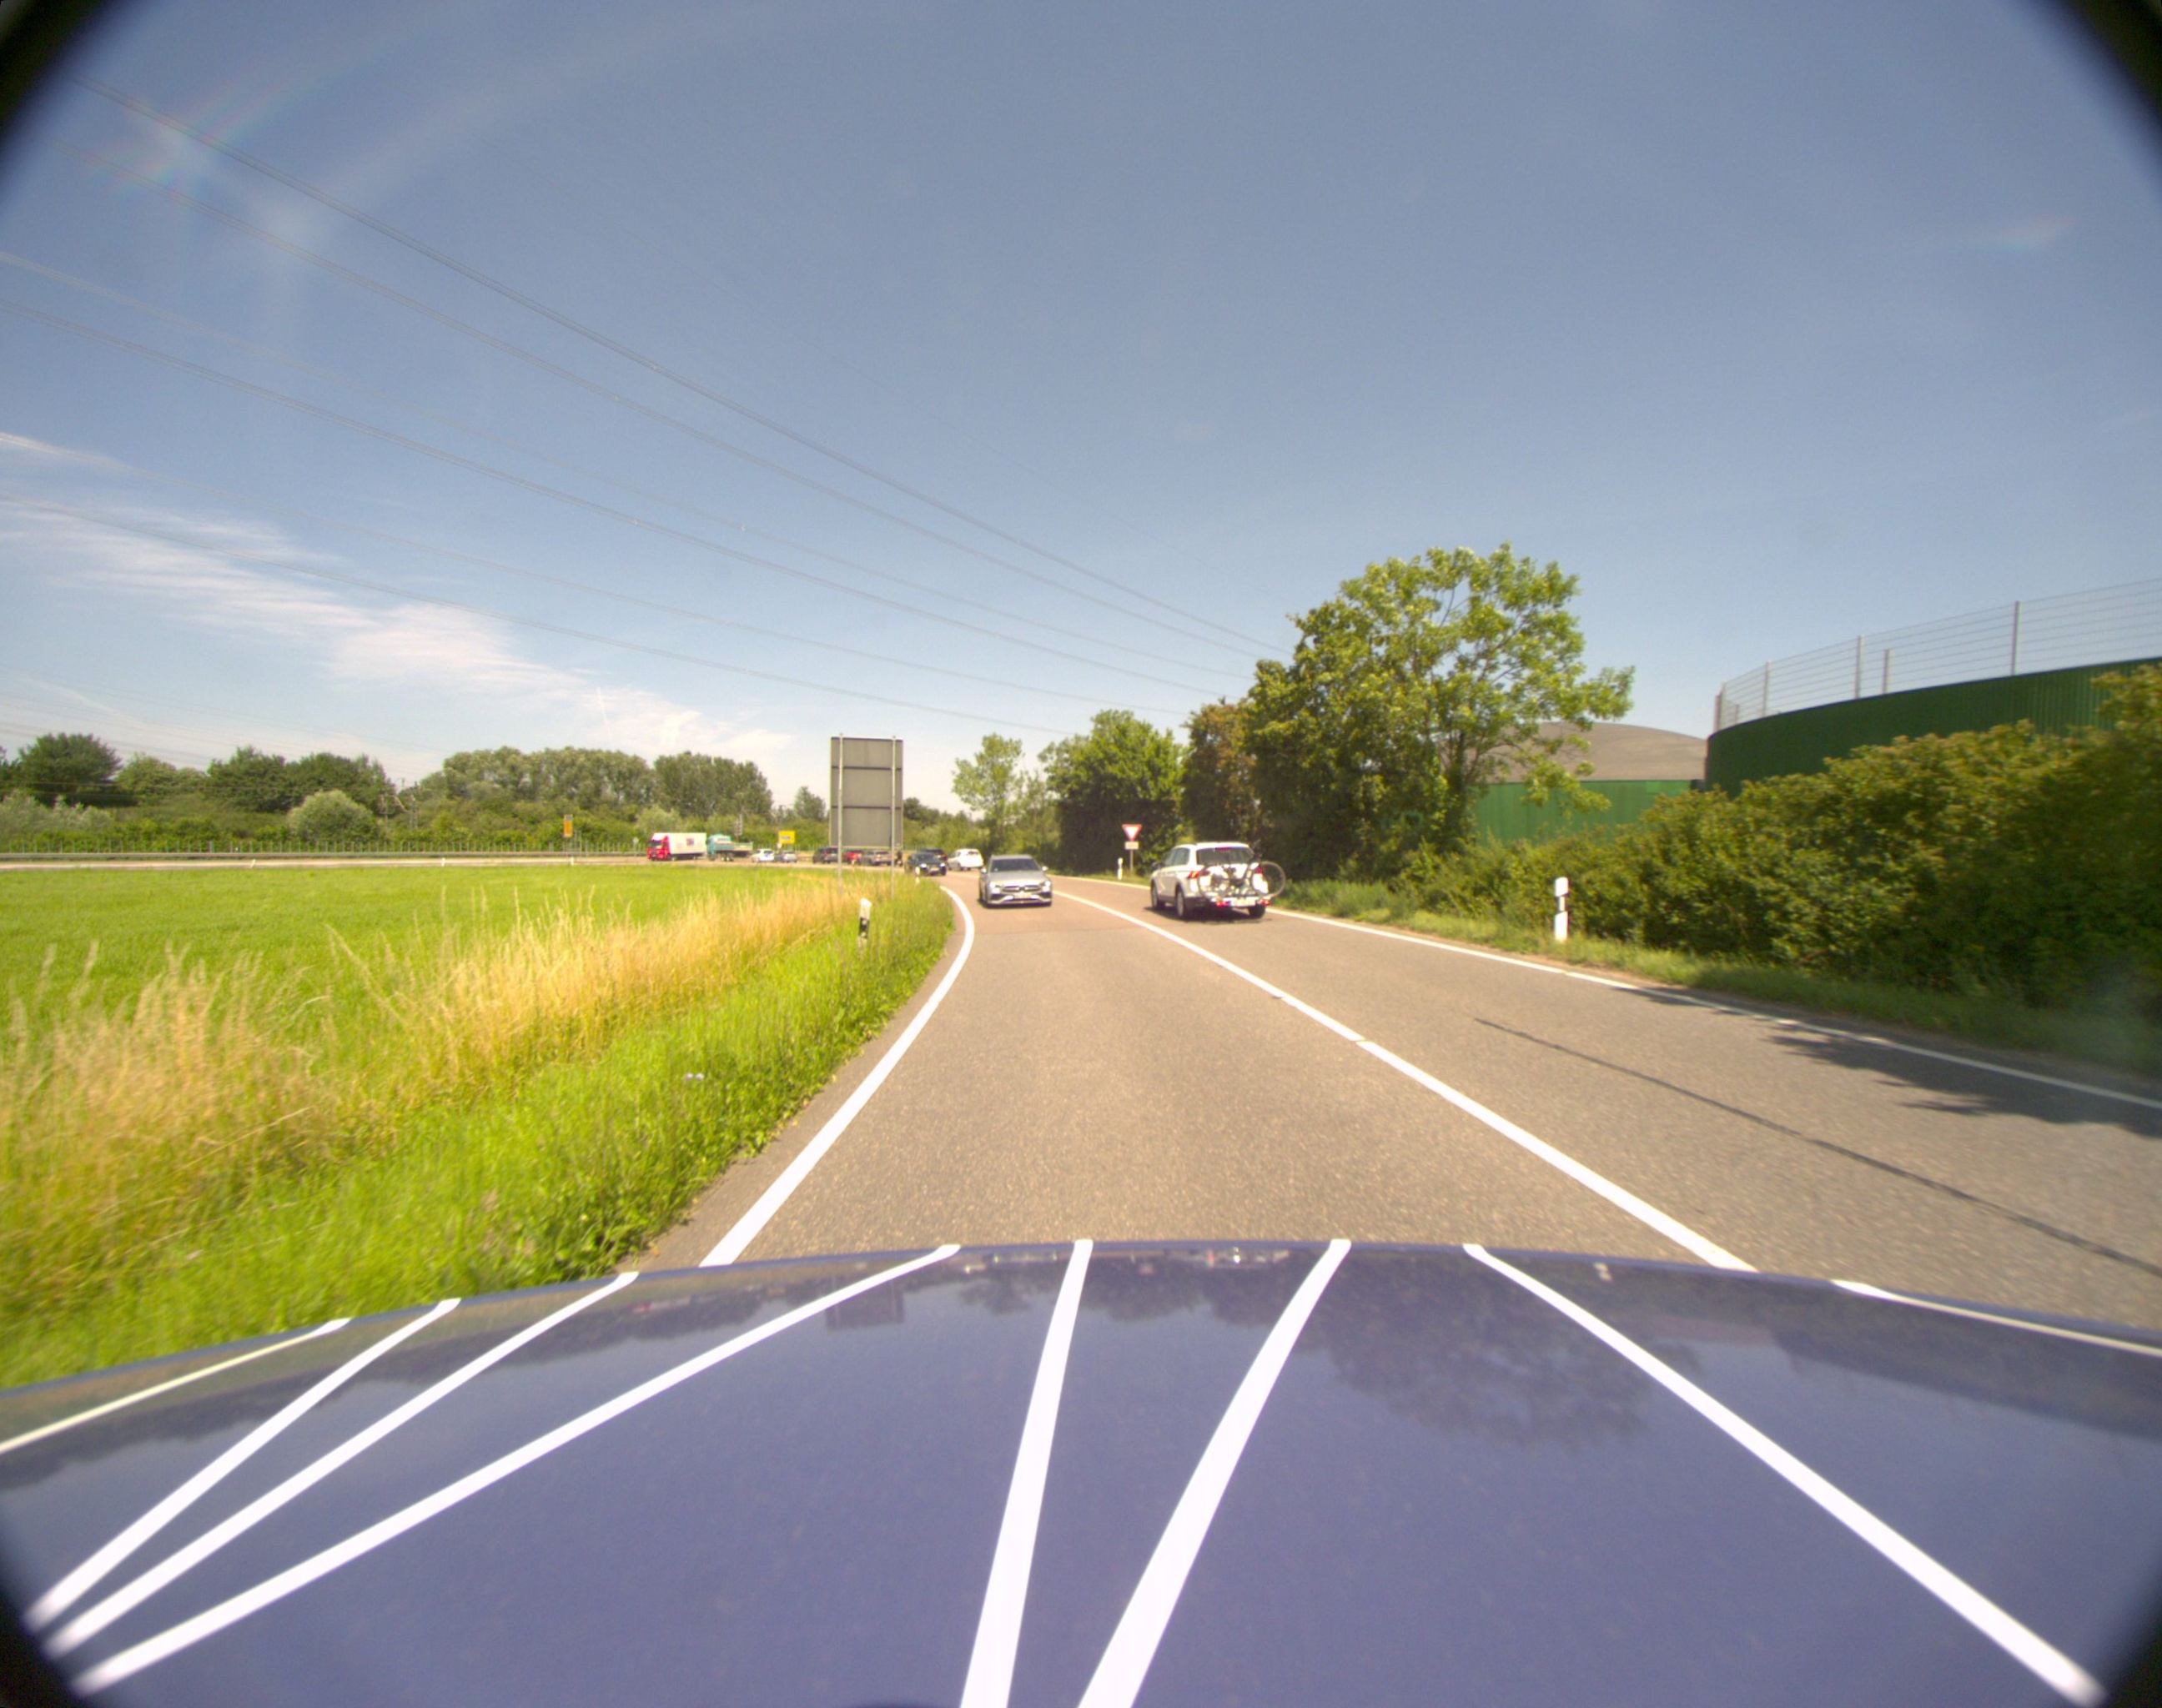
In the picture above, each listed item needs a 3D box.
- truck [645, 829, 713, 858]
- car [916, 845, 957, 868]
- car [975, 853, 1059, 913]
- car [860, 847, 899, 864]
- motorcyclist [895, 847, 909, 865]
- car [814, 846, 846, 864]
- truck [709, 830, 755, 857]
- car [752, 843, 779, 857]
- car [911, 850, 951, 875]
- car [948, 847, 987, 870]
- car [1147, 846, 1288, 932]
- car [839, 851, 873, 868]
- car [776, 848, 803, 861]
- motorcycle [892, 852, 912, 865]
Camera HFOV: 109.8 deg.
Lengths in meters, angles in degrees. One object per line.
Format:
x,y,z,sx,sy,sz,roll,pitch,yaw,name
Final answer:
-53.499,-1.496,101.471,2.721,3.560,9.558,0,2,9,truck
-11.438,0.168,60.038,1.710,1.629,4.238,-3,2,-33,car
-1.994,0.772,22.412,1.826,1.478,4.143,-3,1,-13,car
-18.637,0.123,70.089,1.850,1.452,4.795,-2,2,-36,car
-15.580,0.166,66.176,0.785,1.487,1.127,-2,2,-36,motorcyclist
-26.703,0.055,80.750,1.936,1.822,4.425,-1,2,-38,car
-45.287,-1.340,98.445,7.587,3.451,2.616,1,1,42,truck
-38.675,-0.464,93.117,1.781,1.611,4.318,-3,2,-41,car
-9.287,0.499,46.767,1.827,1.431,4.141,0,1,-20,car
-7.960,0.299,53.029,1.543,1.435,3.598,-4,3,-28,car
2.856,0.650,17.058,1.860,1.592,4.774,-2,1,-5,car
-22.301,0.527,75.262,1.808,1.507,4.379,0,2,-36,car
-34.020,0.078,88.565,1.640,1.451,3.996,-1,1,-41,car
-15.583,0.382,66.204,0.785,1.117,2.423,-3,3,-36,motorcycle
